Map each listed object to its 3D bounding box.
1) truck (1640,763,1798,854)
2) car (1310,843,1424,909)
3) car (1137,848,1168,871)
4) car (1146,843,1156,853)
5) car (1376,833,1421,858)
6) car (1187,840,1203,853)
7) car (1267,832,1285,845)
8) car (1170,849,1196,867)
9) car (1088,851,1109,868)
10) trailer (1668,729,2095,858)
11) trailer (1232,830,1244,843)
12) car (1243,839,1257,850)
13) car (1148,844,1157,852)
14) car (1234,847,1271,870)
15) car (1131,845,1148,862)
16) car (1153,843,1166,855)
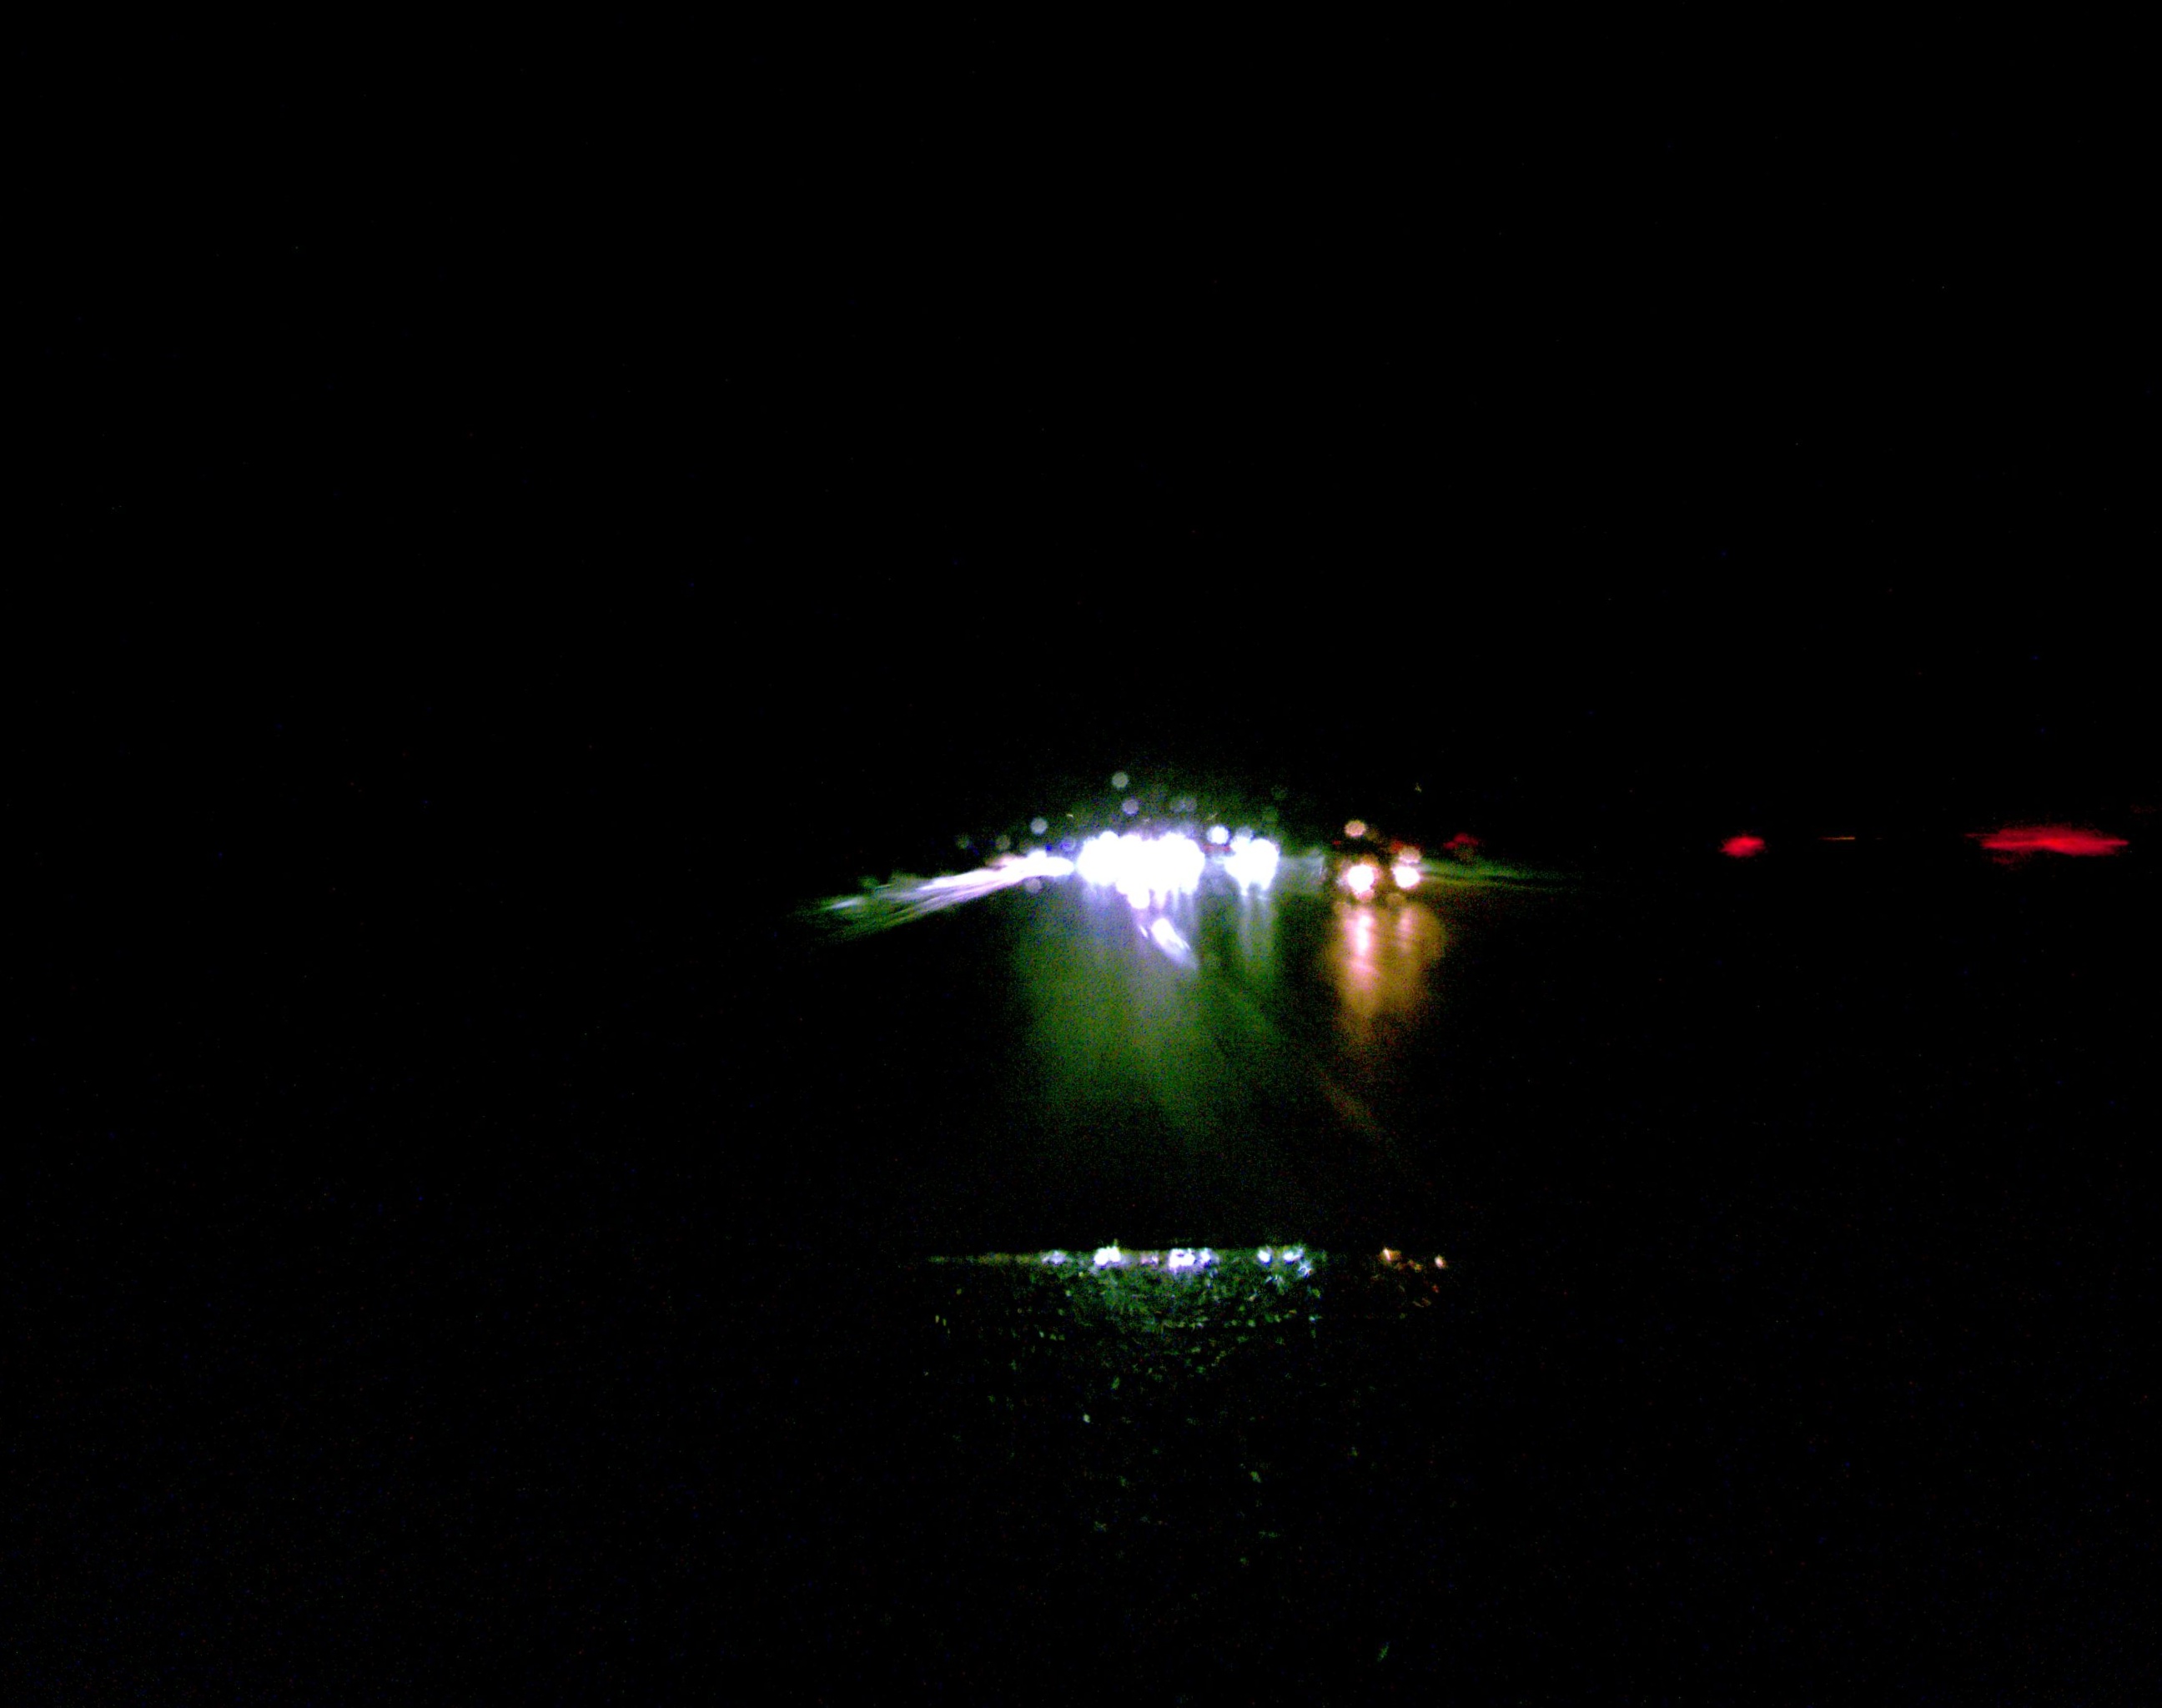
[{"bbox_3d":[32.428,-2.165,39.010,2.734,4.066,6.267,-5,1,1],"label":"truck"},{"bbox_3d":[7.804,0.534,21.143,1.726,1.587,4.000,-3,1,2],"label":"car"},{"bbox_3d":[5.396,0.361,57.749,1.921,1.587,3.999,-3,1,1],"label":"car"},{"bbox_3d":[14.715,-1.286,159.368,1.929,1.783,4.001,-5,0,4],"label":"car"},{"bbox_3d":[25.740,-0.693,61.764,1.998,1.747,4.000,-5,1,2],"label":"car"},{"bbox_3d":[17.289,-1.165,115.351,1.929,1.783,4.001,-5,0,5],"label":"car"},{"bbox_3d":[31.685,-2.478,123.513,1.998,2.002,4.279,-5,0,4],"label":"car"},{"bbox_3d":[9.705,0.391,72.677,1.921,1.587,3.999,-3,1,1],"label":"car"},{"bbox_3d":[1.943,0.594,84.302,1.998,1.737,4.100,-4,1,3],"label":"car"},{"bbox_3d":[32.282,-2.086,32.616,2.734,4.066,14.860,-5,1,1],"label":"trailer"},{"bbox_3d":[50.624,-5.584,245.588,2.657,3.709,13.948,-5,1,8],"label":"trailer"},{"bbox_3d":[33.599,-1.827,151.277,1.998,2.002,4.279,-5,1,3],"label":"car"},{"bbox_3d":[19.704,-1.741,209.754,1.998,2.002,4.000,-5,1,3],"label":"car"},{"bbox_3d":[12.869,0.281,57.225,1.921,1.587,3.999,-3,1,1],"label":"car"},{"bbox_3d":[7.541,-0.031,98.896,1.998,2.002,4.000,-5,1,4],"label":"car"},{"bbox_3d":[12.794,-0.772,124.081,1.929,1.783,4.001,-5,0,4],"label":"car"}]
